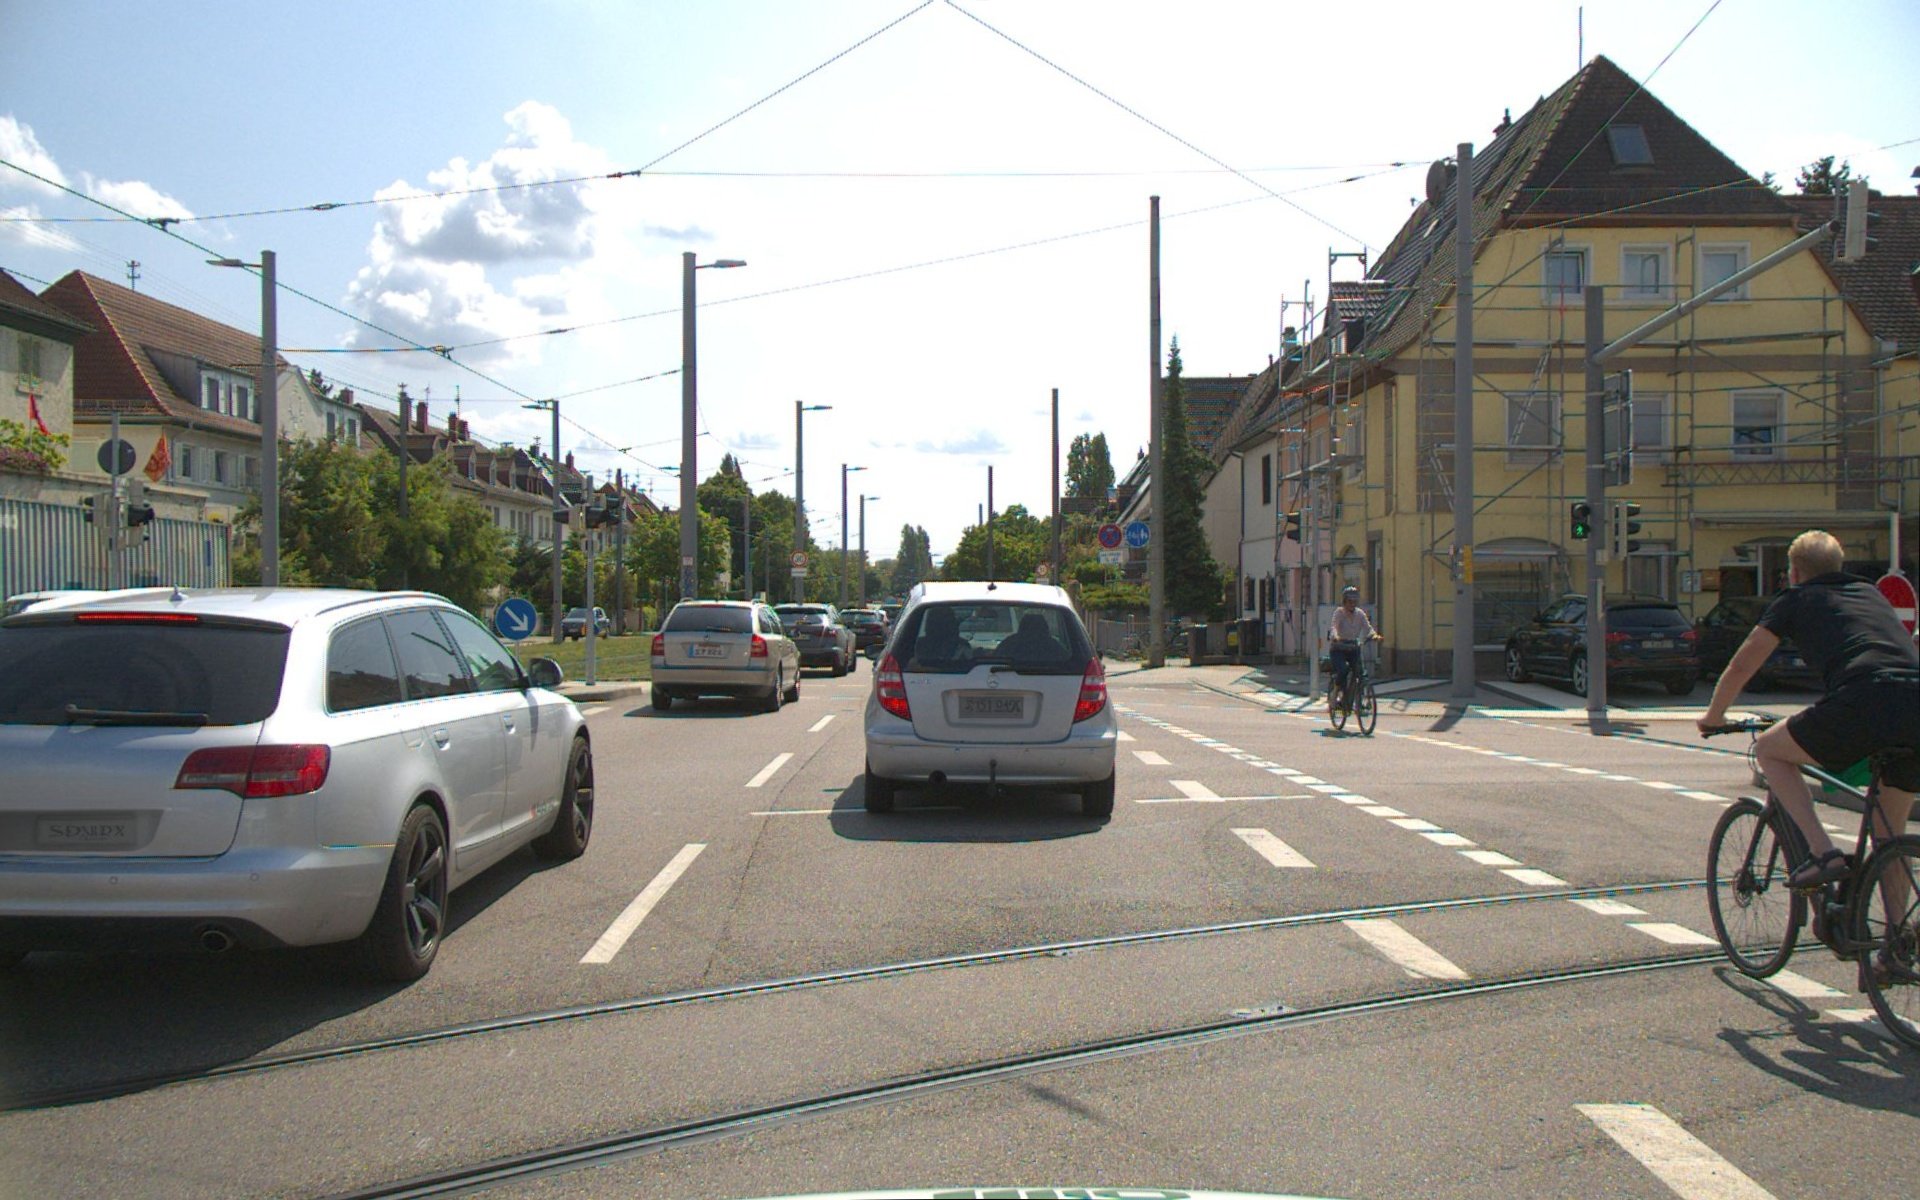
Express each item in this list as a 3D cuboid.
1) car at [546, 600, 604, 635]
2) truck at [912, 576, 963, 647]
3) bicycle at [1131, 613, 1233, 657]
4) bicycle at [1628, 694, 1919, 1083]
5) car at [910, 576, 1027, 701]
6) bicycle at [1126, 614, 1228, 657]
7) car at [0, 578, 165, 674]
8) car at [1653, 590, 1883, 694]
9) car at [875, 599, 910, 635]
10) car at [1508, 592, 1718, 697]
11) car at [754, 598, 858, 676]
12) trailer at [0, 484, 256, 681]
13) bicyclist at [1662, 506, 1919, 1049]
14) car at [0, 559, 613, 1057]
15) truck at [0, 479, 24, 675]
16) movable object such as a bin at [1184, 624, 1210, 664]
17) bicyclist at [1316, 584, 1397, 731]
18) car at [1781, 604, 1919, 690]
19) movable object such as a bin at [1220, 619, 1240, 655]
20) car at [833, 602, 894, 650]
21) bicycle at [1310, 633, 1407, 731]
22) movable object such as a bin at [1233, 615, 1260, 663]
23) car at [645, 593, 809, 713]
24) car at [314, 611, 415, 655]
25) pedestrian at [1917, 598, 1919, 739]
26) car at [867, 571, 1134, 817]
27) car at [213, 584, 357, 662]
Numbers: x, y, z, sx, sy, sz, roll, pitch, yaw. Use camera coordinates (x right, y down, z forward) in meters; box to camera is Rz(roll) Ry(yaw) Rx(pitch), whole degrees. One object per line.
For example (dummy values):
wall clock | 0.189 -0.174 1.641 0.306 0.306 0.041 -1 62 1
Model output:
car | -20.103 0.927 86.579 1.974 1.741 4.935 -1 -1 -1
truck | -0.918 0.475 65.065 1.815 2.597 5.852 2 -1 -2
bicycle | 5.980 0.951 44.649 2.607 1.124 0.786 -1 -1 -1
bicycle | 3.211 0.968 6.191 0.810 1.094 1.973 -1 0 7
car | 0.136 0.598 26.520 1.694 1.793 4.016 2 -1 0
bicycle | 5.947 0.967 45.377 2.670 1.139 0.691 -1 -1 -1
car | -17.023 0.496 31.260 1.757 1.665 4.471 -1 -1 1
car | 13.897 0.710 28.740 1.953 1.624 4.130 2 -1 0
car | -3.646 0.929 89.843 1.815 1.875 3.916 2 -1 -2
car | 11.129 0.736 28.519 1.953 1.624 4.130 2 -1 0
car | -3.205 0.753 35.200 1.878 1.503 4.560 2 -1 -2
trailer | -20.114 -0.347 37.239 2.545 3.888 12.839 -2 0 2
bicyclist | 3.199 0.594 6.111 0.810 1.825 1.085 -1 0 7
car | -2.886 0.629 7.358 1.758 1.497 4.720 1 0 -1
truck | -20.343 -0.391 30.589 2.545 3.888 5.669 -2 0 2
movable object such as a bin | 5.621 1.030 39.208 0.501 0.934 0.741 1 -1 0
bicyclist | 4.927 0.705 20.592 0.638 1.768 0.982 2 -1 -7
car | 16.294 0.811 28.874 1.829 1.375 4.130 2 -1 0
movable object such as a bin | 7.366 1.002 45.111 0.458 0.963 0.558 0 -1 -1
car | -3.045 0.831 52.833 1.815 1.413 4.512 2 -1 -2
bicycle | 4.923 1.000 20.525 0.638 1.137 1.585 2 -1 -7
movable object such as a bin | 6.807 0.918 39.330 0.501 1.124 0.855 0 -1 0
car | -3.168 0.668 23.193 1.696 1.474 4.123 2 0 0
car | -20.268 1.118 56.483 1.757 1.411 4.471 -1 -1 1
pedestrian | 11.662 0.818 19.484 0.535 1.672 0.401 1 -1 4
car | 0.203 0.636 12.708 1.695 1.543 4.015 2 -1 -2
car | -17.011 0.575 41.915 1.758 1.847 4.711 -1 -1 -1
